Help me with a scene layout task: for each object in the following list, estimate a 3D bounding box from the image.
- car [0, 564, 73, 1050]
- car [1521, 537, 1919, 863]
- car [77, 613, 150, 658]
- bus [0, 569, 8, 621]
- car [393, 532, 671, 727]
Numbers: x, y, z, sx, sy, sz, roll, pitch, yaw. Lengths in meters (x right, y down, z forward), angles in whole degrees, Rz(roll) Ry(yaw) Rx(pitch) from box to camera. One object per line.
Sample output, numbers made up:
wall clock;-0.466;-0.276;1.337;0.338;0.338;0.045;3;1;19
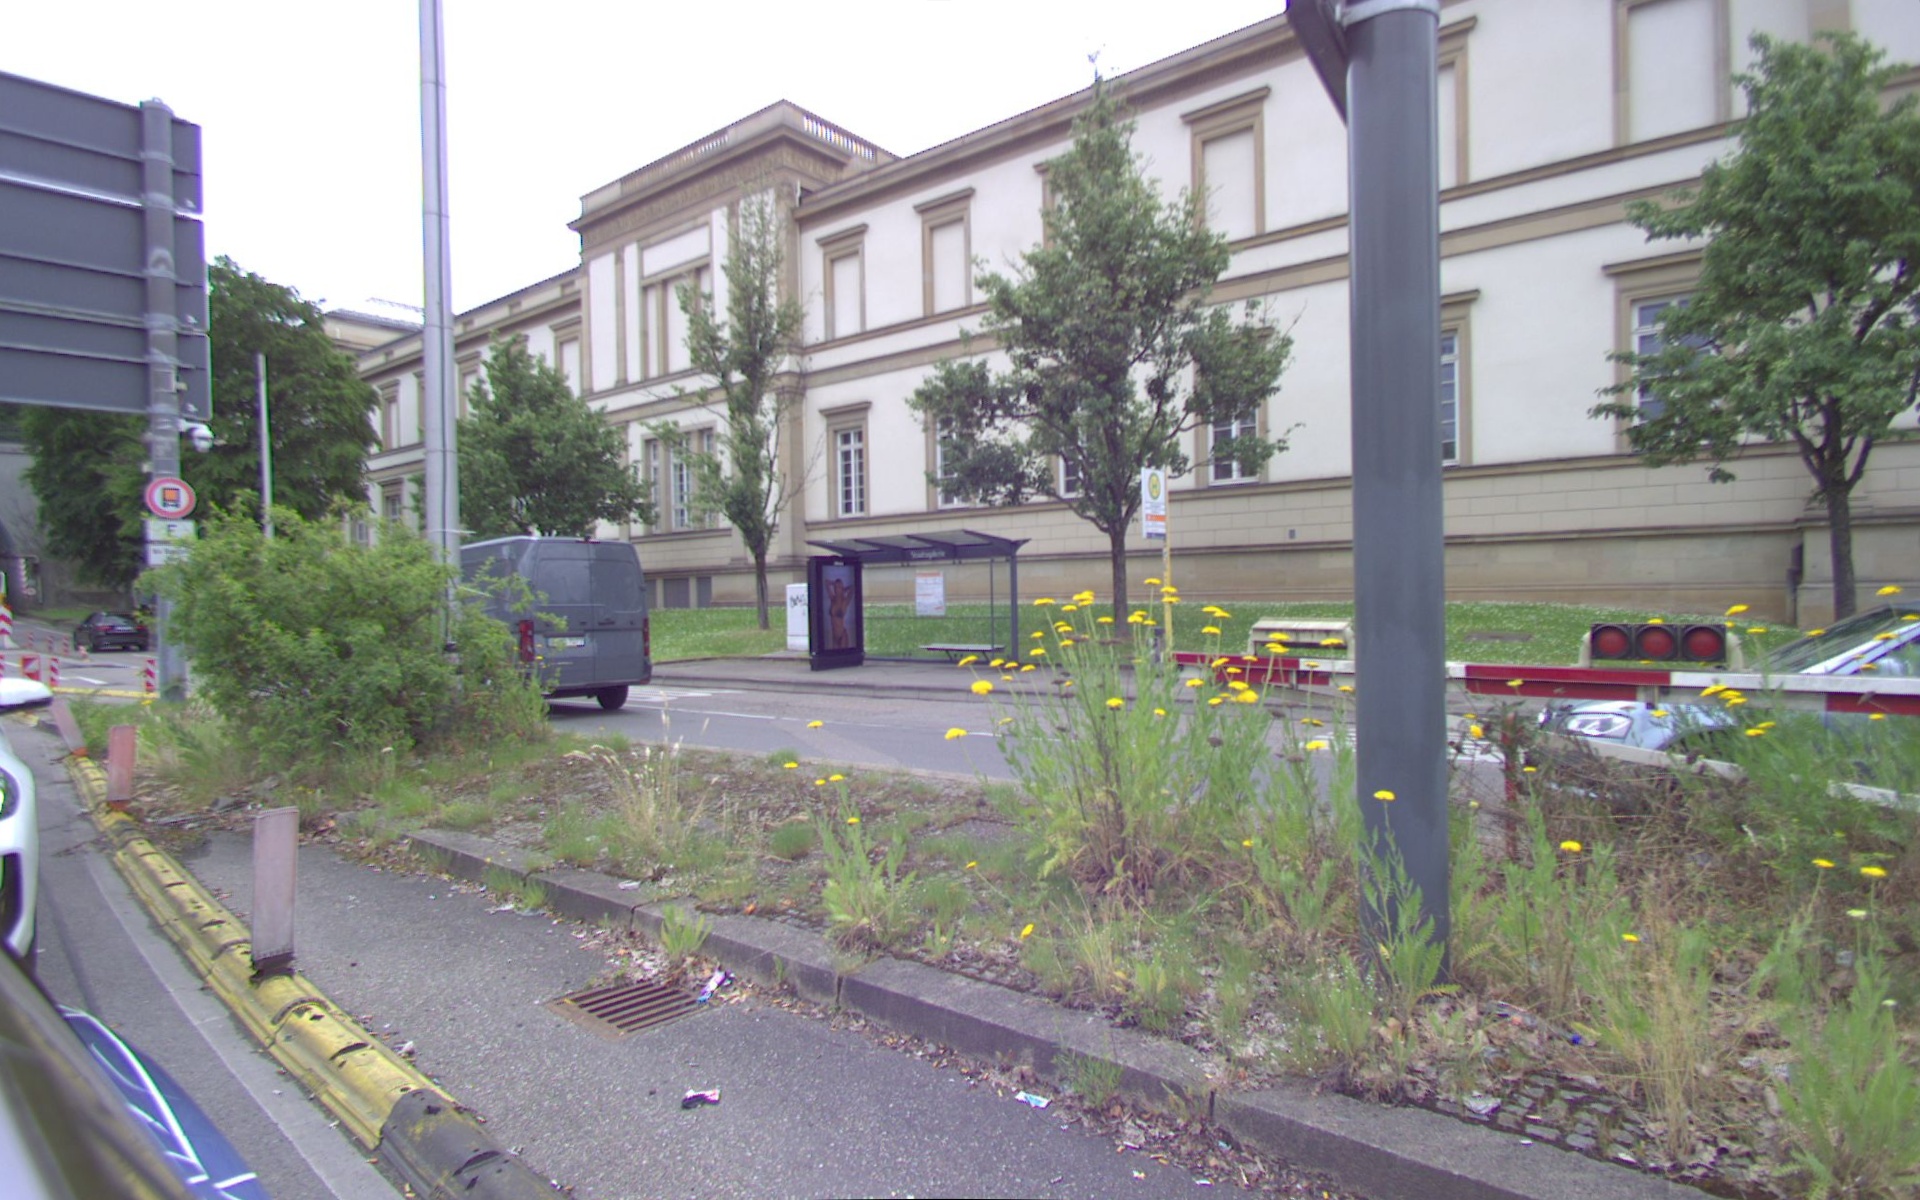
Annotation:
car;-5.142;0.752;4.024;3.668;1.637;1.962;-2;-1;41
car;5.489;0.490;5.732;3.775;1.630;1.767;-1;0;21
car;-34.940;1.416;41.737;4.001;1.736;1.920;-1;0;44
bus;-63.122;-0.245;63.944;9.111;3.171;3.132;-1;0;39
car;-6.690;0.411;15.544;4.758;2.527;2.174;-1;0;43
